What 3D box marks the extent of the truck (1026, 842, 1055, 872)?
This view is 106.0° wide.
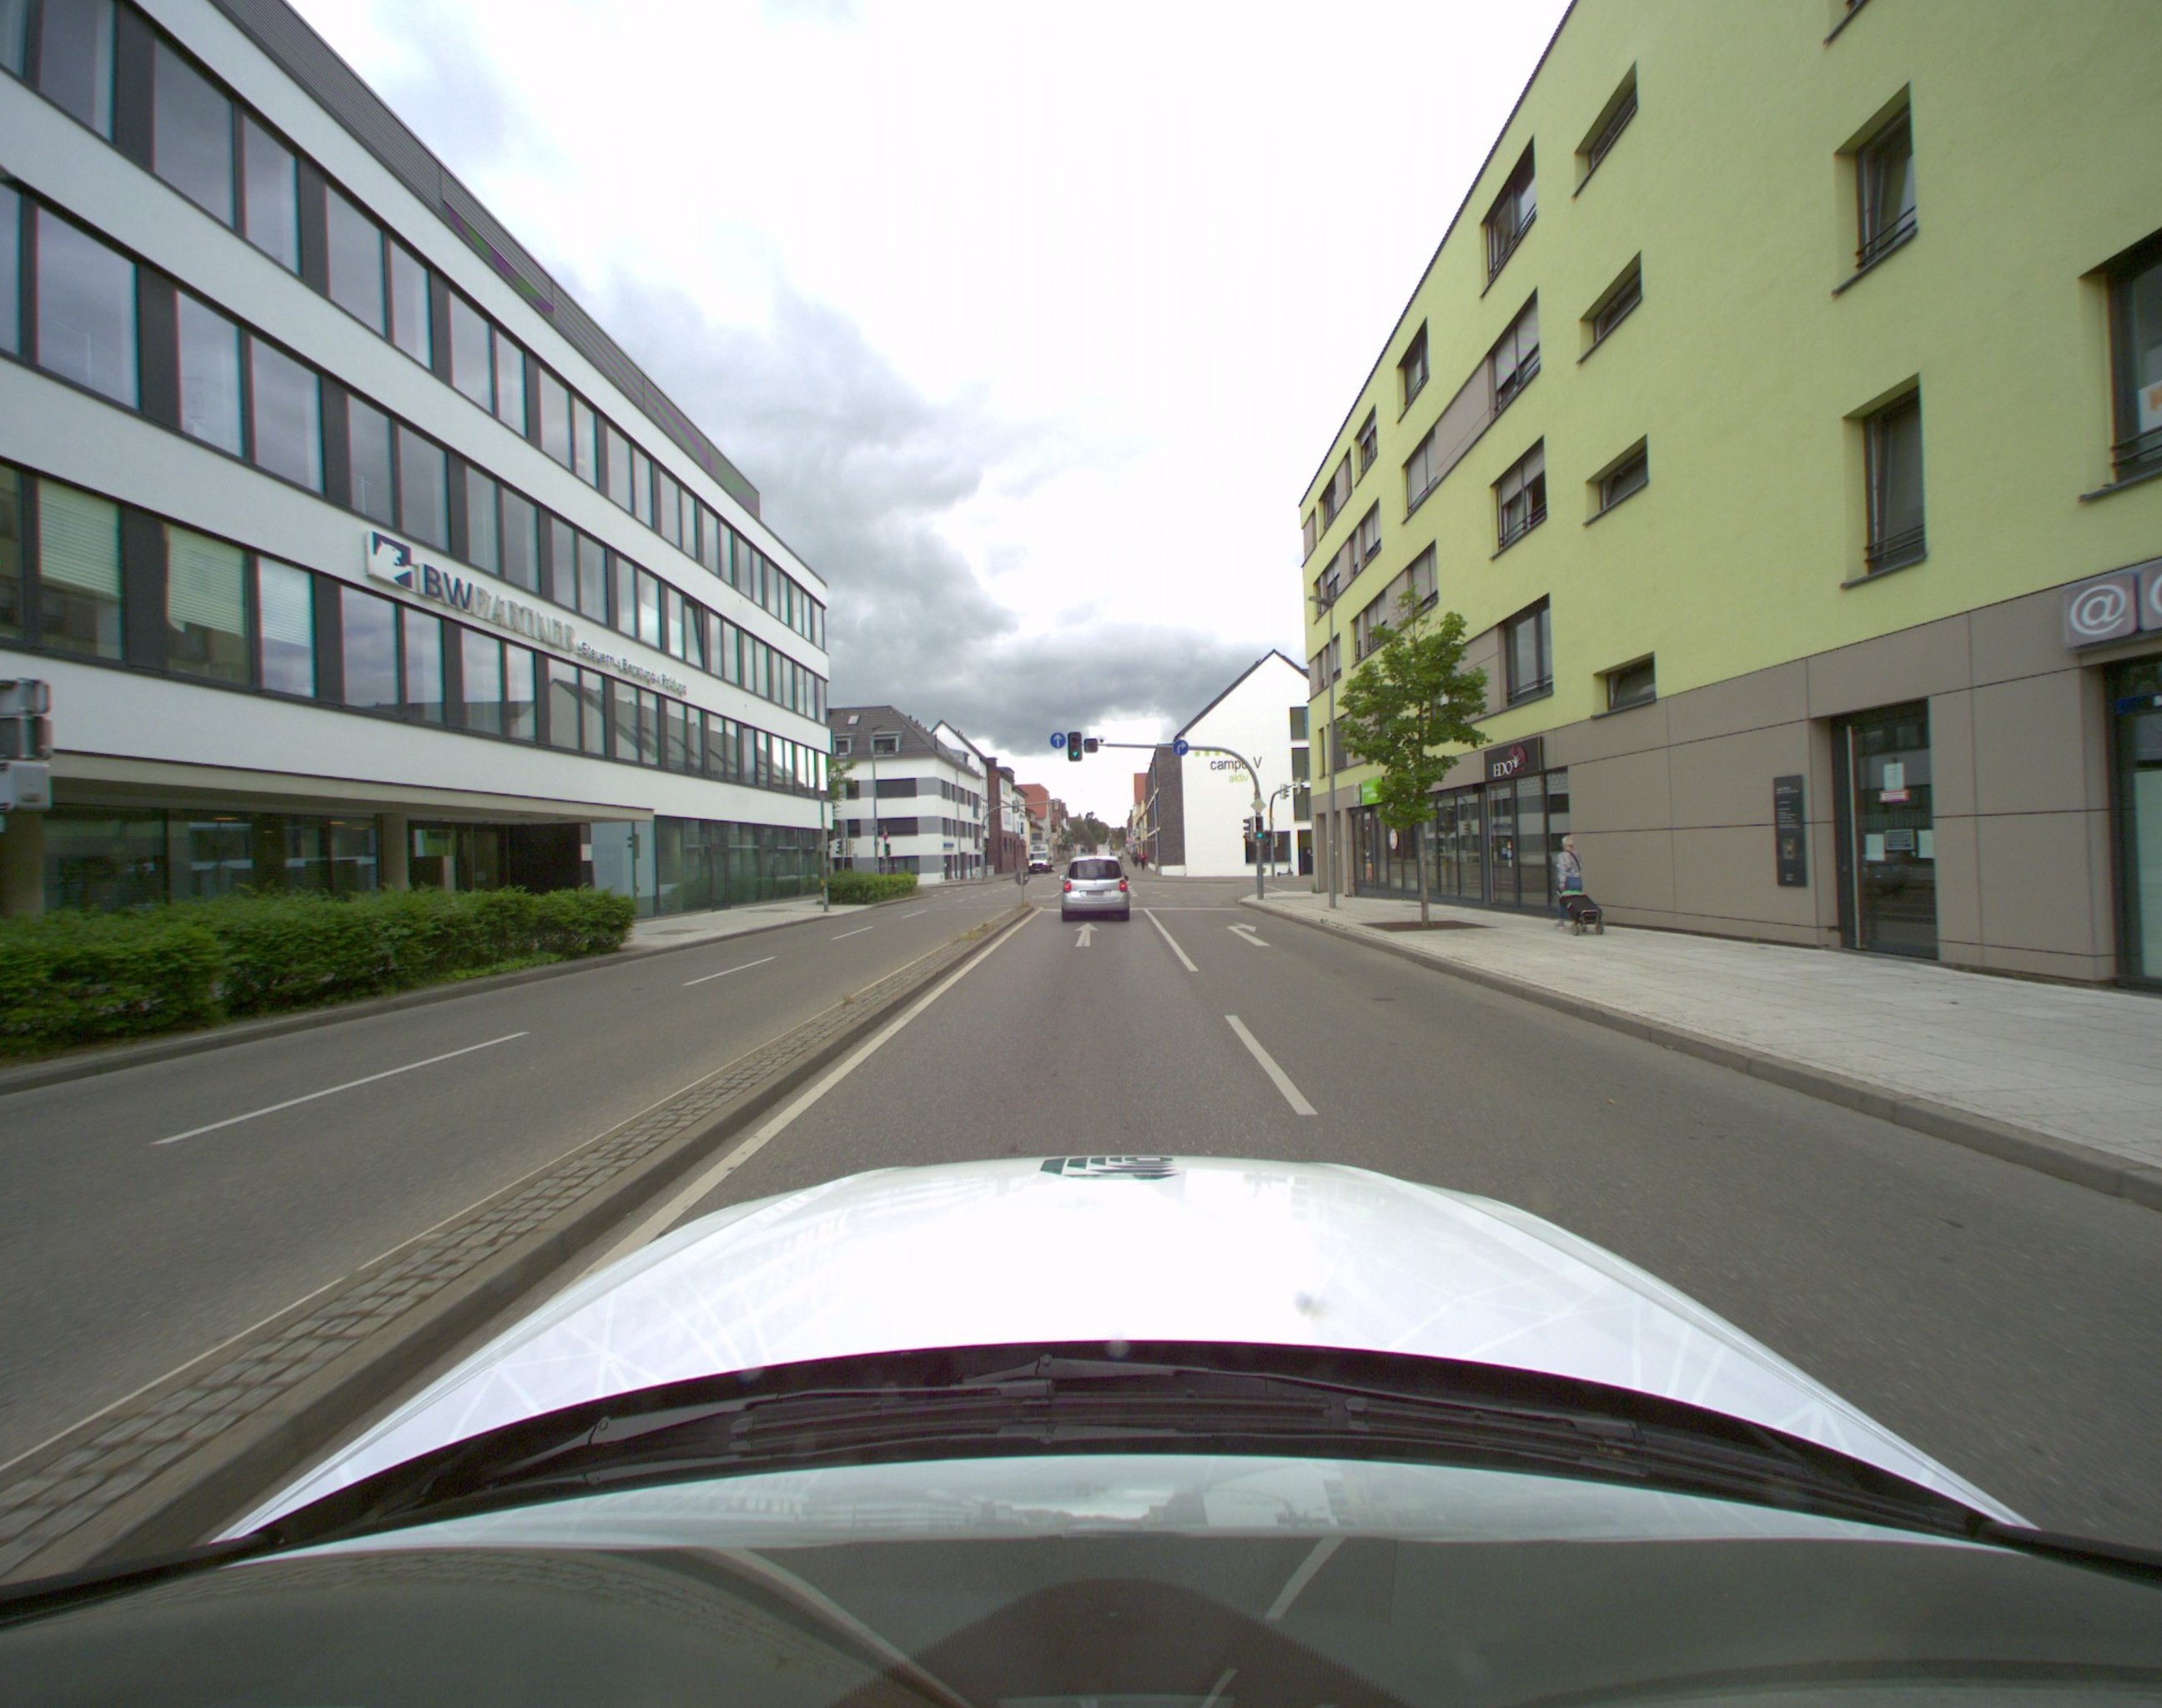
[{"bbox_3d":[-4.174,0.272,85.618,2.426,2.953,8.367,-1,0,2],"label":"truck"}]

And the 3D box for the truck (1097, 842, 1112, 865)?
[{"bbox_3d":[4.221,-0.078,144.661,2.585,3.857,6.852,-2,0,2],"label":"truck"}]

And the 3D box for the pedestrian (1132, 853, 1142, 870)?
[{"bbox_3d":[6.008,0.789,87.492,0.886,1.786,0.785,-5,0,2],"label":"pedestrian"}]

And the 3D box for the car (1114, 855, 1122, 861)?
[{"bbox_3d":[8.442,0.861,185.233,1.805,1.354,4.003,-3,0,2],"label":"car"}]

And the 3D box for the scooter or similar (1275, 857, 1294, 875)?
[{"bbox_3d":[14.450,0.840,57.833,1.225,1.235,0.407,0,0,2],"label":"scooter or similar"}]

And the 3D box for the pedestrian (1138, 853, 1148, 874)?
[{"bbox_3d":[5.596,0.853,73.466,0.804,1.786,0.861,-5,0,2],"label":"pedestrian"}]

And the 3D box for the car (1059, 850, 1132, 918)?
[{"bbox_3d":[0.401,0.689,20.986,1.700,1.579,4.001,0,0,2],"label":"car"}]

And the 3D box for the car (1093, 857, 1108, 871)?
[{"bbox_3d":[2.318,1.138,95.061,1.700,1.579,4.001,0,0,2],"label":"car"}]
